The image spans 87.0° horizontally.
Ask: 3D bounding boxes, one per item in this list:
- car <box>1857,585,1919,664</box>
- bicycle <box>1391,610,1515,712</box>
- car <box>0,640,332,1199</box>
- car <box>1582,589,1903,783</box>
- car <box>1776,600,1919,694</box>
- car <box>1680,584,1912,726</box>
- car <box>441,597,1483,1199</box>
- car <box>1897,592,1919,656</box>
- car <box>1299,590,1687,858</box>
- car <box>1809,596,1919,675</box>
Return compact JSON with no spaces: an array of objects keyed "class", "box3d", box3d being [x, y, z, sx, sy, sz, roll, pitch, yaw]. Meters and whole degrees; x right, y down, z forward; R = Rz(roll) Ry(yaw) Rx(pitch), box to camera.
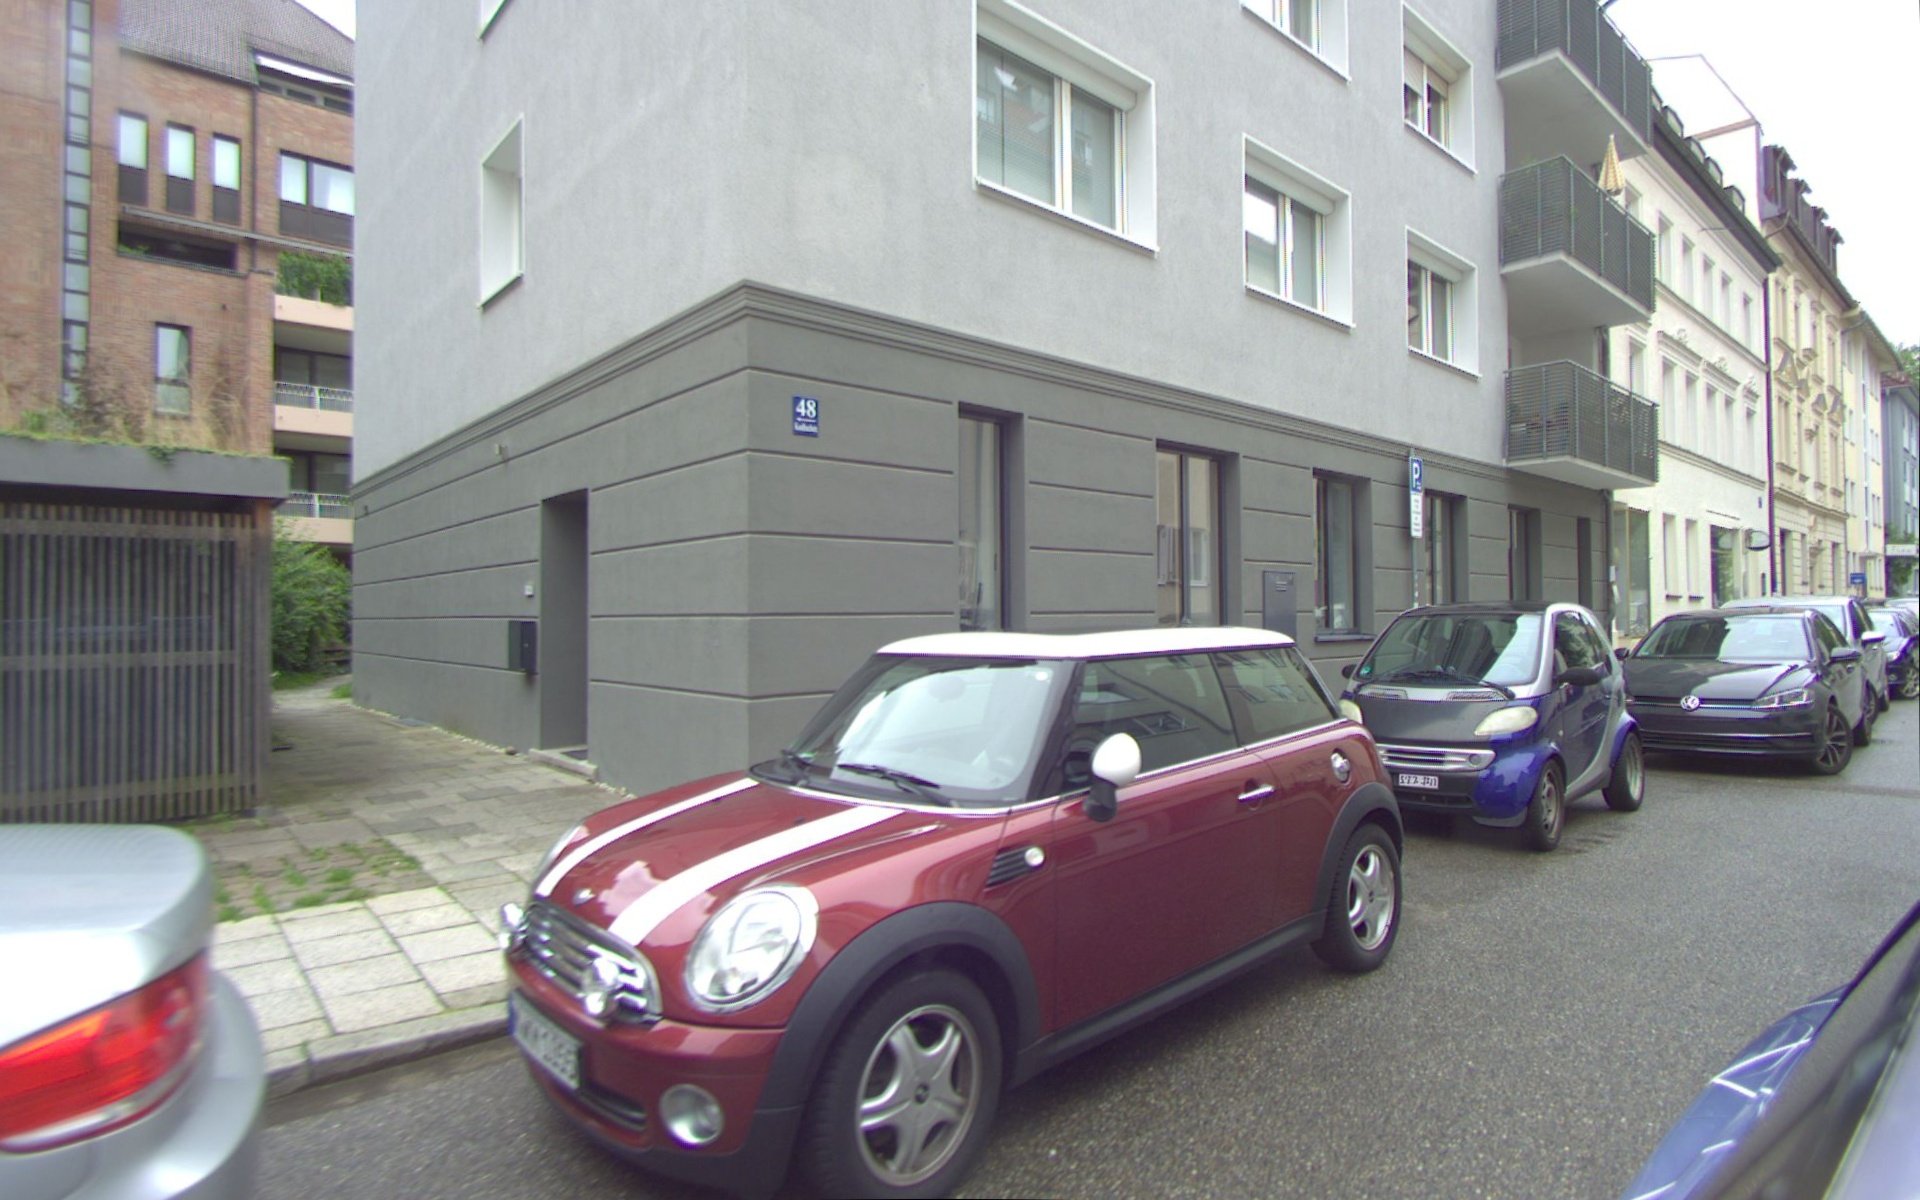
[{"class":"car","box3d":[21.982,0.522,23.135,4.434,1.682,1.678,0,-1,-42]},{"class":"bicycle","box3d":[5.873,0.684,11.999,1.961,1.105,0.570,0,-1,-40]},{"class":"car","box3d":[-3.225,0.817,0.688,4.522,1.435,1.838,0,-1,-43]},{"class":"car","box3d":[8.007,0.703,10.209,4.219,1.548,1.841,0,-1,-43]},{"class":"car","box3d":[15.137,0.694,16.801,3.876,1.380,1.811,0,0,-41]},{"class":"car","box3d":[11.234,0.593,13.491,4.244,1.590,1.877,0,1,-43]},{"class":"car","box3d":[0.374,0.754,4.060,4.079,1.480,1.747,0,-1,-43]},{"class":"car","box3d":[26.342,0.588,26.865,4.604,1.627,1.704,0,-1,-42]},{"class":"car","box3d":[4.007,0.722,7.430,3.147,1.531,1.523,0,-2,-42]},{"class":"car","box3d":[18.293,0.626,19.970,4.274,1.403,1.802,0,0,-42]}]
